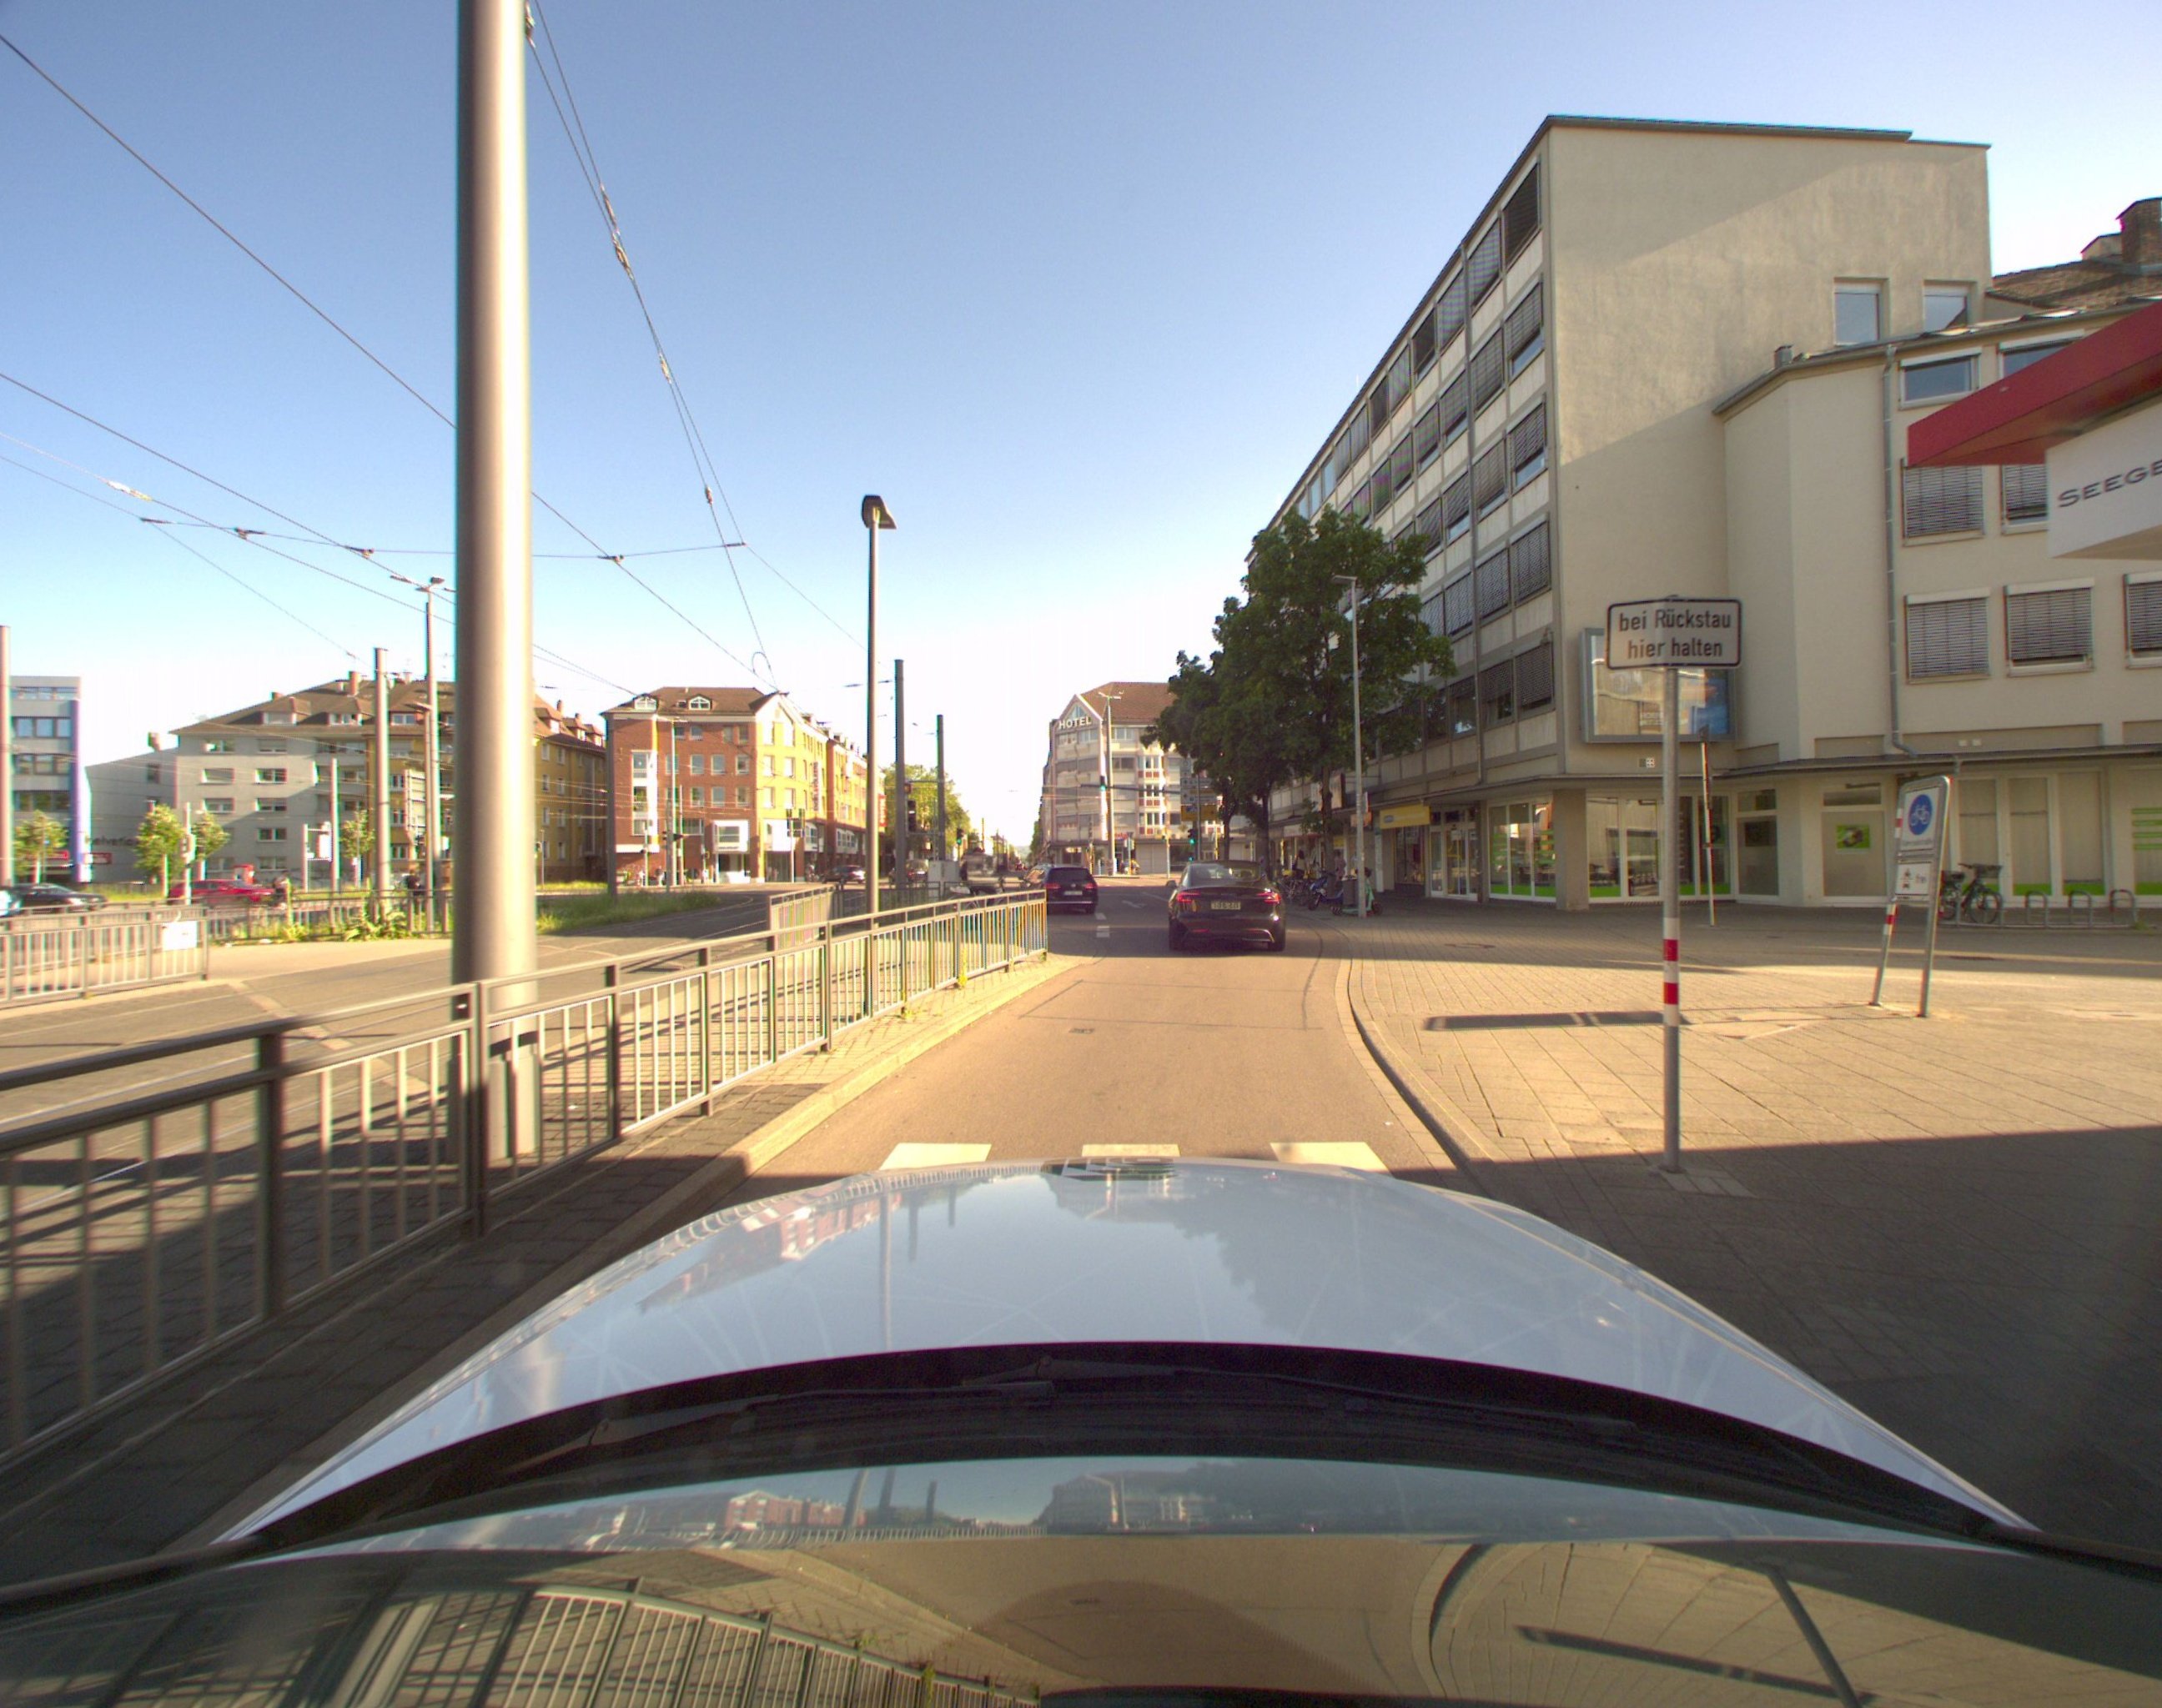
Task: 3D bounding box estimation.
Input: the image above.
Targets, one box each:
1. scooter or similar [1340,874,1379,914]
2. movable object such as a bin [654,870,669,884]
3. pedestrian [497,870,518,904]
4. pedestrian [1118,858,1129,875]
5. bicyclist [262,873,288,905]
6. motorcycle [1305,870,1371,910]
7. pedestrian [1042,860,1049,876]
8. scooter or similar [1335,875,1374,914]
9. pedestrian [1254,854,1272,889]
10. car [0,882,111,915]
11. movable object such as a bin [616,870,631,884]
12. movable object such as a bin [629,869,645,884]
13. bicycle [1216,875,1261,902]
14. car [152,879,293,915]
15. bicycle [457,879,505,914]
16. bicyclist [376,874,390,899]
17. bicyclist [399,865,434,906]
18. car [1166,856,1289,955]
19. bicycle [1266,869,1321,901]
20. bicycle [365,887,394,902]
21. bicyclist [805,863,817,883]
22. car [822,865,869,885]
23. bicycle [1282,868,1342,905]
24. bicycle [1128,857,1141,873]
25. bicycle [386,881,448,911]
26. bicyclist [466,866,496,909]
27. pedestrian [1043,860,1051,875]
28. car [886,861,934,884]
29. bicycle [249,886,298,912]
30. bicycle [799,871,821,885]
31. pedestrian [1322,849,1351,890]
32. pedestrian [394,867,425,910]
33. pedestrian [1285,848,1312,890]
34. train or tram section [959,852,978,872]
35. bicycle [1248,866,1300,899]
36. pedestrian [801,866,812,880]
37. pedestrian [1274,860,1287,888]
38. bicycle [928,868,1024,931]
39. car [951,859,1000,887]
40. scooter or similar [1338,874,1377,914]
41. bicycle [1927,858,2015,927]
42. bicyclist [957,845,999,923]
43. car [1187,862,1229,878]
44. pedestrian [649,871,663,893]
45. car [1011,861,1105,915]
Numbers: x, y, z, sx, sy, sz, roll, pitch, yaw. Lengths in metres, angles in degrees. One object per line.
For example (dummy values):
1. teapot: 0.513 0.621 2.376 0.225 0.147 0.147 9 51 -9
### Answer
1. scooter or similar: 7.334 1.047 21.440 0.960 1.043 0.160 -1 -1 1
2. movable object such as a bin: -41.111 2.253 79.845 0.996 1.437 1.092 0 -1 -11
3. pedestrian: -28.617 1.637 40.663 0.625 1.688 0.702 0 1 -14
4. pedestrian: 3.856 1.131 74.023 0.781 1.576 0.863 0 0 -17
5. bicyclist: -37.550 1.614 37.960 0.615 1.493 0.606 0 -1 -16
6. motorcycle: 7.497 1.033 23.803 1.783 1.130 0.503 0 -1 -4
7. pedestrian: -3.890 1.514 88.988 0.626 1.782 0.915 0 -1 -7
8. scooter or similar: 7.340 1.075 21.839 0.960 1.027 0.160 -1 -1 1
9. pedestrian: 9.180 0.884 41.181 0.837 1.721 0.882 -1 -1 11
10. car: -49.210 2.094 38.783 3.699 1.472 1.570 0 -1 -9
11. movable object such as a bin: -44.567 2.237 79.346 0.996 1.437 1.092 0 -1 -11
12. movable object such as a bin: -43.390 2.194 79.599 0.996 1.437 1.092 0 -1 -11
13. bicycle: 7.117 1.553 36.893 1.884 1.156 0.480 -3 -1 -2
14. car: -42.226 2.075 40.164 4.553 1.509 1.775 -2 0 -12
15. bicycle: -23.639 1.648 32.120 0.573 1.291 2.021 0 -1 -7
16. bicyclist: -38.029 1.755 44.360 0.459 1.316 0.397 0 -1 -18
17. bicyclist: -23.744 1.121 29.111 0.661 1.454 0.730 0 -1 -1
18. car: 2.461 0.775 13.994 1.780 1.451 3.949 -1 0 9
19. bicycle: 7.288 1.064 27.936 1.759 1.057 0.458 -1 -1 3
20. bicycle: -38.140 2.184 44.291 1.175 0.764 0.318 0 -1 -18
21. bicyclist: -23.970 1.705 72.360 0.820 1.772 0.618 -1 -1 27
22. car: -18.554 1.639 64.155 3.429 1.551 1.741 -1 -1 31
23. bicycle: 7.340 1.025 25.887 1.852 1.056 0.397 -2 -1 -13
24. bicycle: 4.872 1.017 74.160 0.584 1.463 1.676 -1 -1 -17
25. bicycle: -23.726 1.497 29.153 0.647 1.013 1.885 -1 -1 0
26. bicyclist: -23.656 1.320 32.115 0.588 1.649 0.804 0 -1 -7
27. pedestrian: -4.110 1.675 99.012 0.912 1.755 0.838 0 -1 -3
28. car: -12.123 1.306 57.596 1.587 1.618 3.736 1 -2 -45
29. bicycle: -37.590 2.092 37.939 1.498 1.133 0.609 0 -1 -16
30. bicycle: -24.160 2.167 72.577 2.015 1.223 0.632 -1 -1 27
31. pedestrian: 10.075 0.618 32.121 0.841 1.602 0.879 0 -1 -2
32. pedestrian: -31.038 1.593 37.639 0.717 1.934 0.802 -1 -1 19
33. pedestrian: 9.126 0.632 34.164 0.841 1.707 0.879 0 -1 -2
34. train or tram section: -21.008 1.555 152.467 2.723 3.542 10.072 0 -1 -3
35. bicycle: 7.083 1.027 29.902 1.807 1.151 0.434 -1 -1 -6
36. pedestrian: -32.715 2.271 96.928 0.877 1.568 0.868 -1 -1 20
37. pedestrian: 10.014 0.997 40.883 0.640 1.422 0.623 -1 -1 14
38. bicycle: -2.115 0.892 16.435 1.829 1.212 0.636 0 -1 -26
39. car: -6.400 1.125 49.132 1.850 1.635 3.454 0 -1 -28
40. scooter or similar: 7.338 1.062 21.638 0.953 1.039 0.160 -1 -1 1
41. bicycle: 16.961 0.703 15.562 0.437 1.160 1.509 -1 3 18
42. bicyclist: -2.086 0.592 16.459 0.684 1.523 0.629 0 -1 -26
43. car: 12.636 1.574 81.118 3.837 1.432 1.799 -1 -3 -7
44. pedestrian: -33.849 2.215 64.925 0.695 1.710 0.927 0 -1 -8
45. car: -0.805 0.945 24.623 1.768 1.444 4.504 0 0 -16
